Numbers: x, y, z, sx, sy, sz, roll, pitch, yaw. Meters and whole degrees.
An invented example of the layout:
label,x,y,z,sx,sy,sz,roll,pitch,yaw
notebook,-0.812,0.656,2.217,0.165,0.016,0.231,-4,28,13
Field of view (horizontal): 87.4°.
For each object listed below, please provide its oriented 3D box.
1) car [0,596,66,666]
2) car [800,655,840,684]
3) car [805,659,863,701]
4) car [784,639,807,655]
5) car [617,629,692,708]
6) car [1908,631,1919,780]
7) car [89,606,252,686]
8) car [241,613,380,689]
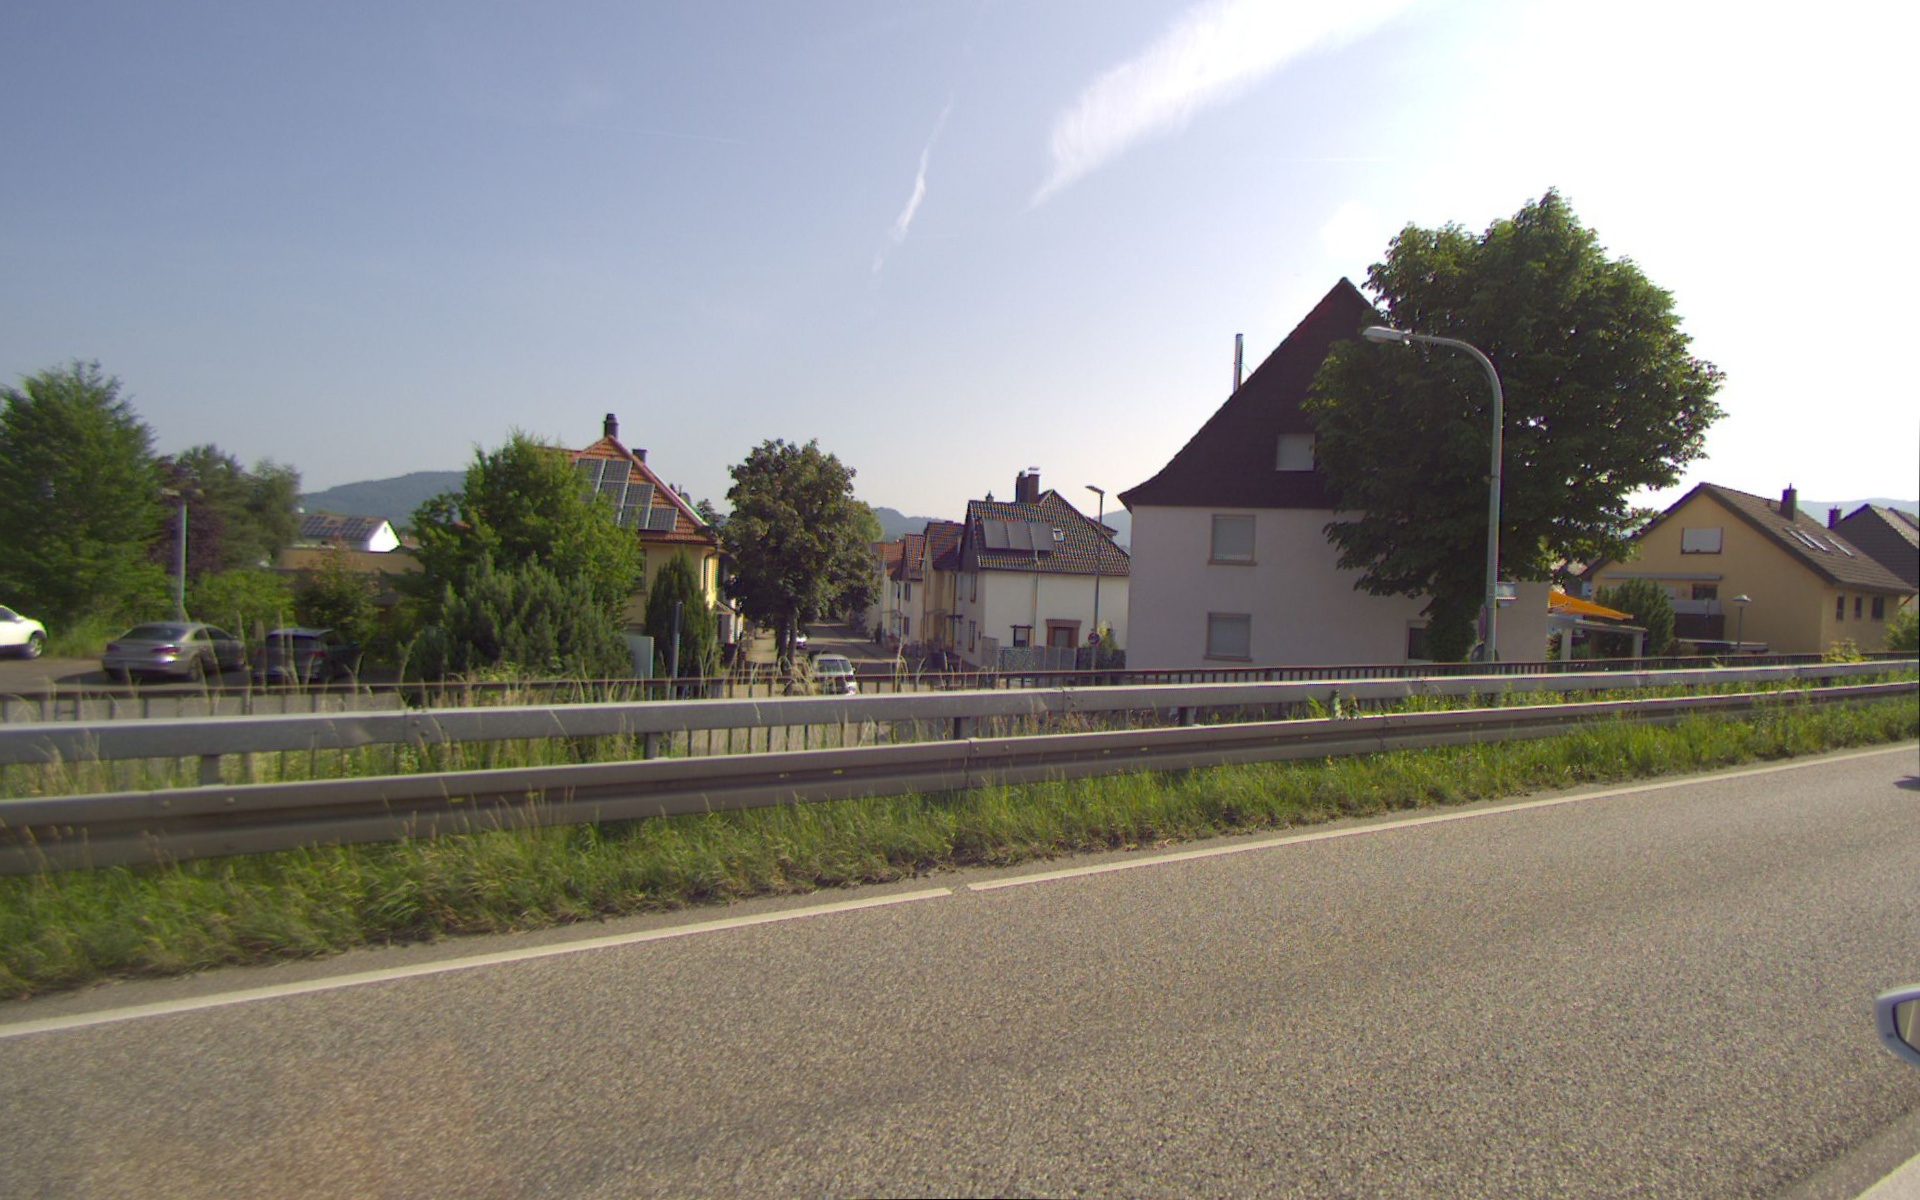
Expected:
label,x,y,z,sx,sy,sz,roll,pitch,yaw
car,-25.588,0.801,26.110,1.833,1.655,4.553,2,1,-19
car,-7.105,3.486,50.644,1.530,1.267,3.833,0,-1,-16
car,-5.024,3.109,39.656,1.726,1.458,3.833,0,-1,-16
car,-14.628,4.179,89.202,1.530,1.267,3.833,2,-2,-16
car,-8.773,1.921,29.142,1.831,1.655,4.157,4,3,-15
car,11.322,1.061,9.987,3.943,1.429,1.750,2,-1,-30
car,-20.460,1.135,26.277,1.833,1.655,4.553,4,1,-19
car,-17.754,1.327,27.711,1.832,1.655,4.557,4,1,-16
